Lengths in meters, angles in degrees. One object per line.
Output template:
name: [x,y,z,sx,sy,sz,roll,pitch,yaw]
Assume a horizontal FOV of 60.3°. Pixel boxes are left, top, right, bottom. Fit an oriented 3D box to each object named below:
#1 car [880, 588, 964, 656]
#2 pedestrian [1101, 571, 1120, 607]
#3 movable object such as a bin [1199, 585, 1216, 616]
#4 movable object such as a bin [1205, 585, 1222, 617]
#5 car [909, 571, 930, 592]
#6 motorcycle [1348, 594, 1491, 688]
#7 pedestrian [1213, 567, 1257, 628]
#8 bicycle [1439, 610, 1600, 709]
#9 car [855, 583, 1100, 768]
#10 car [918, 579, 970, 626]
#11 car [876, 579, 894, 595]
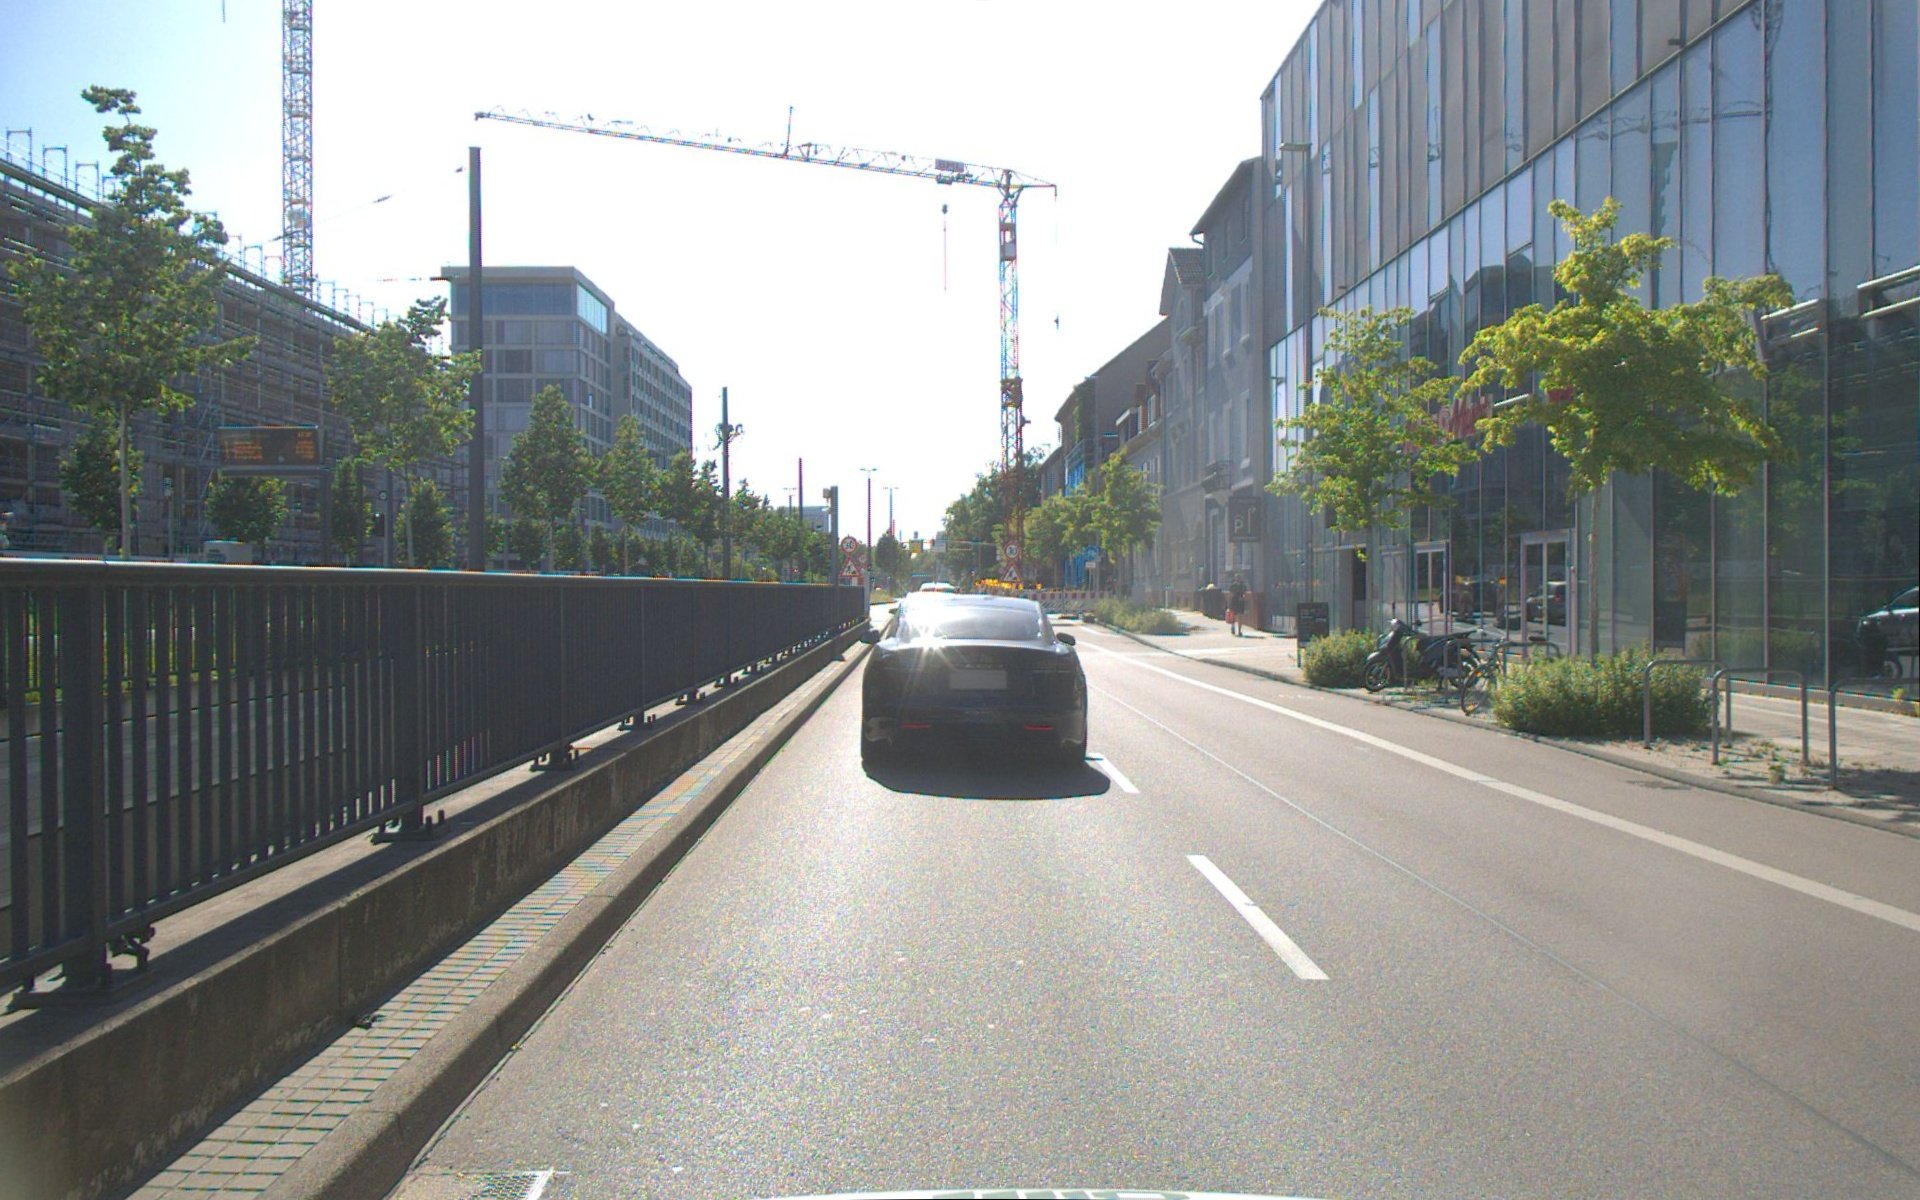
car: [-0.765,0.432,35.387,1.681,1.343,4.000,0,1,0]
pedestrian: [7.848,-0.578,86.141,0.834,1.896,0.929,-1,0,-2]
movable object such as a bin: [9.439,0.025,63.109,0.547,1.189,0.562,1,0,3]
movable object such as a bin: [9.530,0.028,62.262,0.547,1.189,0.562,1,0,3]
car: [-3.672,-1.671,149.770,1.776,1.841,4.039,0,1,1]
motorcycle: [7.178,0.640,25.837,2.030,1.377,0.652,-3,0,23]
pedestrian: [8.601,-0.083,51.813,1.073,1.896,1.522,-1,0,-2]
bicycle: [7.183,0.751,21.268,1.848,1.171,0.670,-2,0,-11]
car: [0.189,0.587,15.543,1.958,1.459,4.413,1,1,1]
car: [-0.525,0.050,58.176,1.748,1.573,4.039,0,1,1]
car: [-8.433,-1.497,186.027,1.953,1.713,3.999,1,0,-2]
